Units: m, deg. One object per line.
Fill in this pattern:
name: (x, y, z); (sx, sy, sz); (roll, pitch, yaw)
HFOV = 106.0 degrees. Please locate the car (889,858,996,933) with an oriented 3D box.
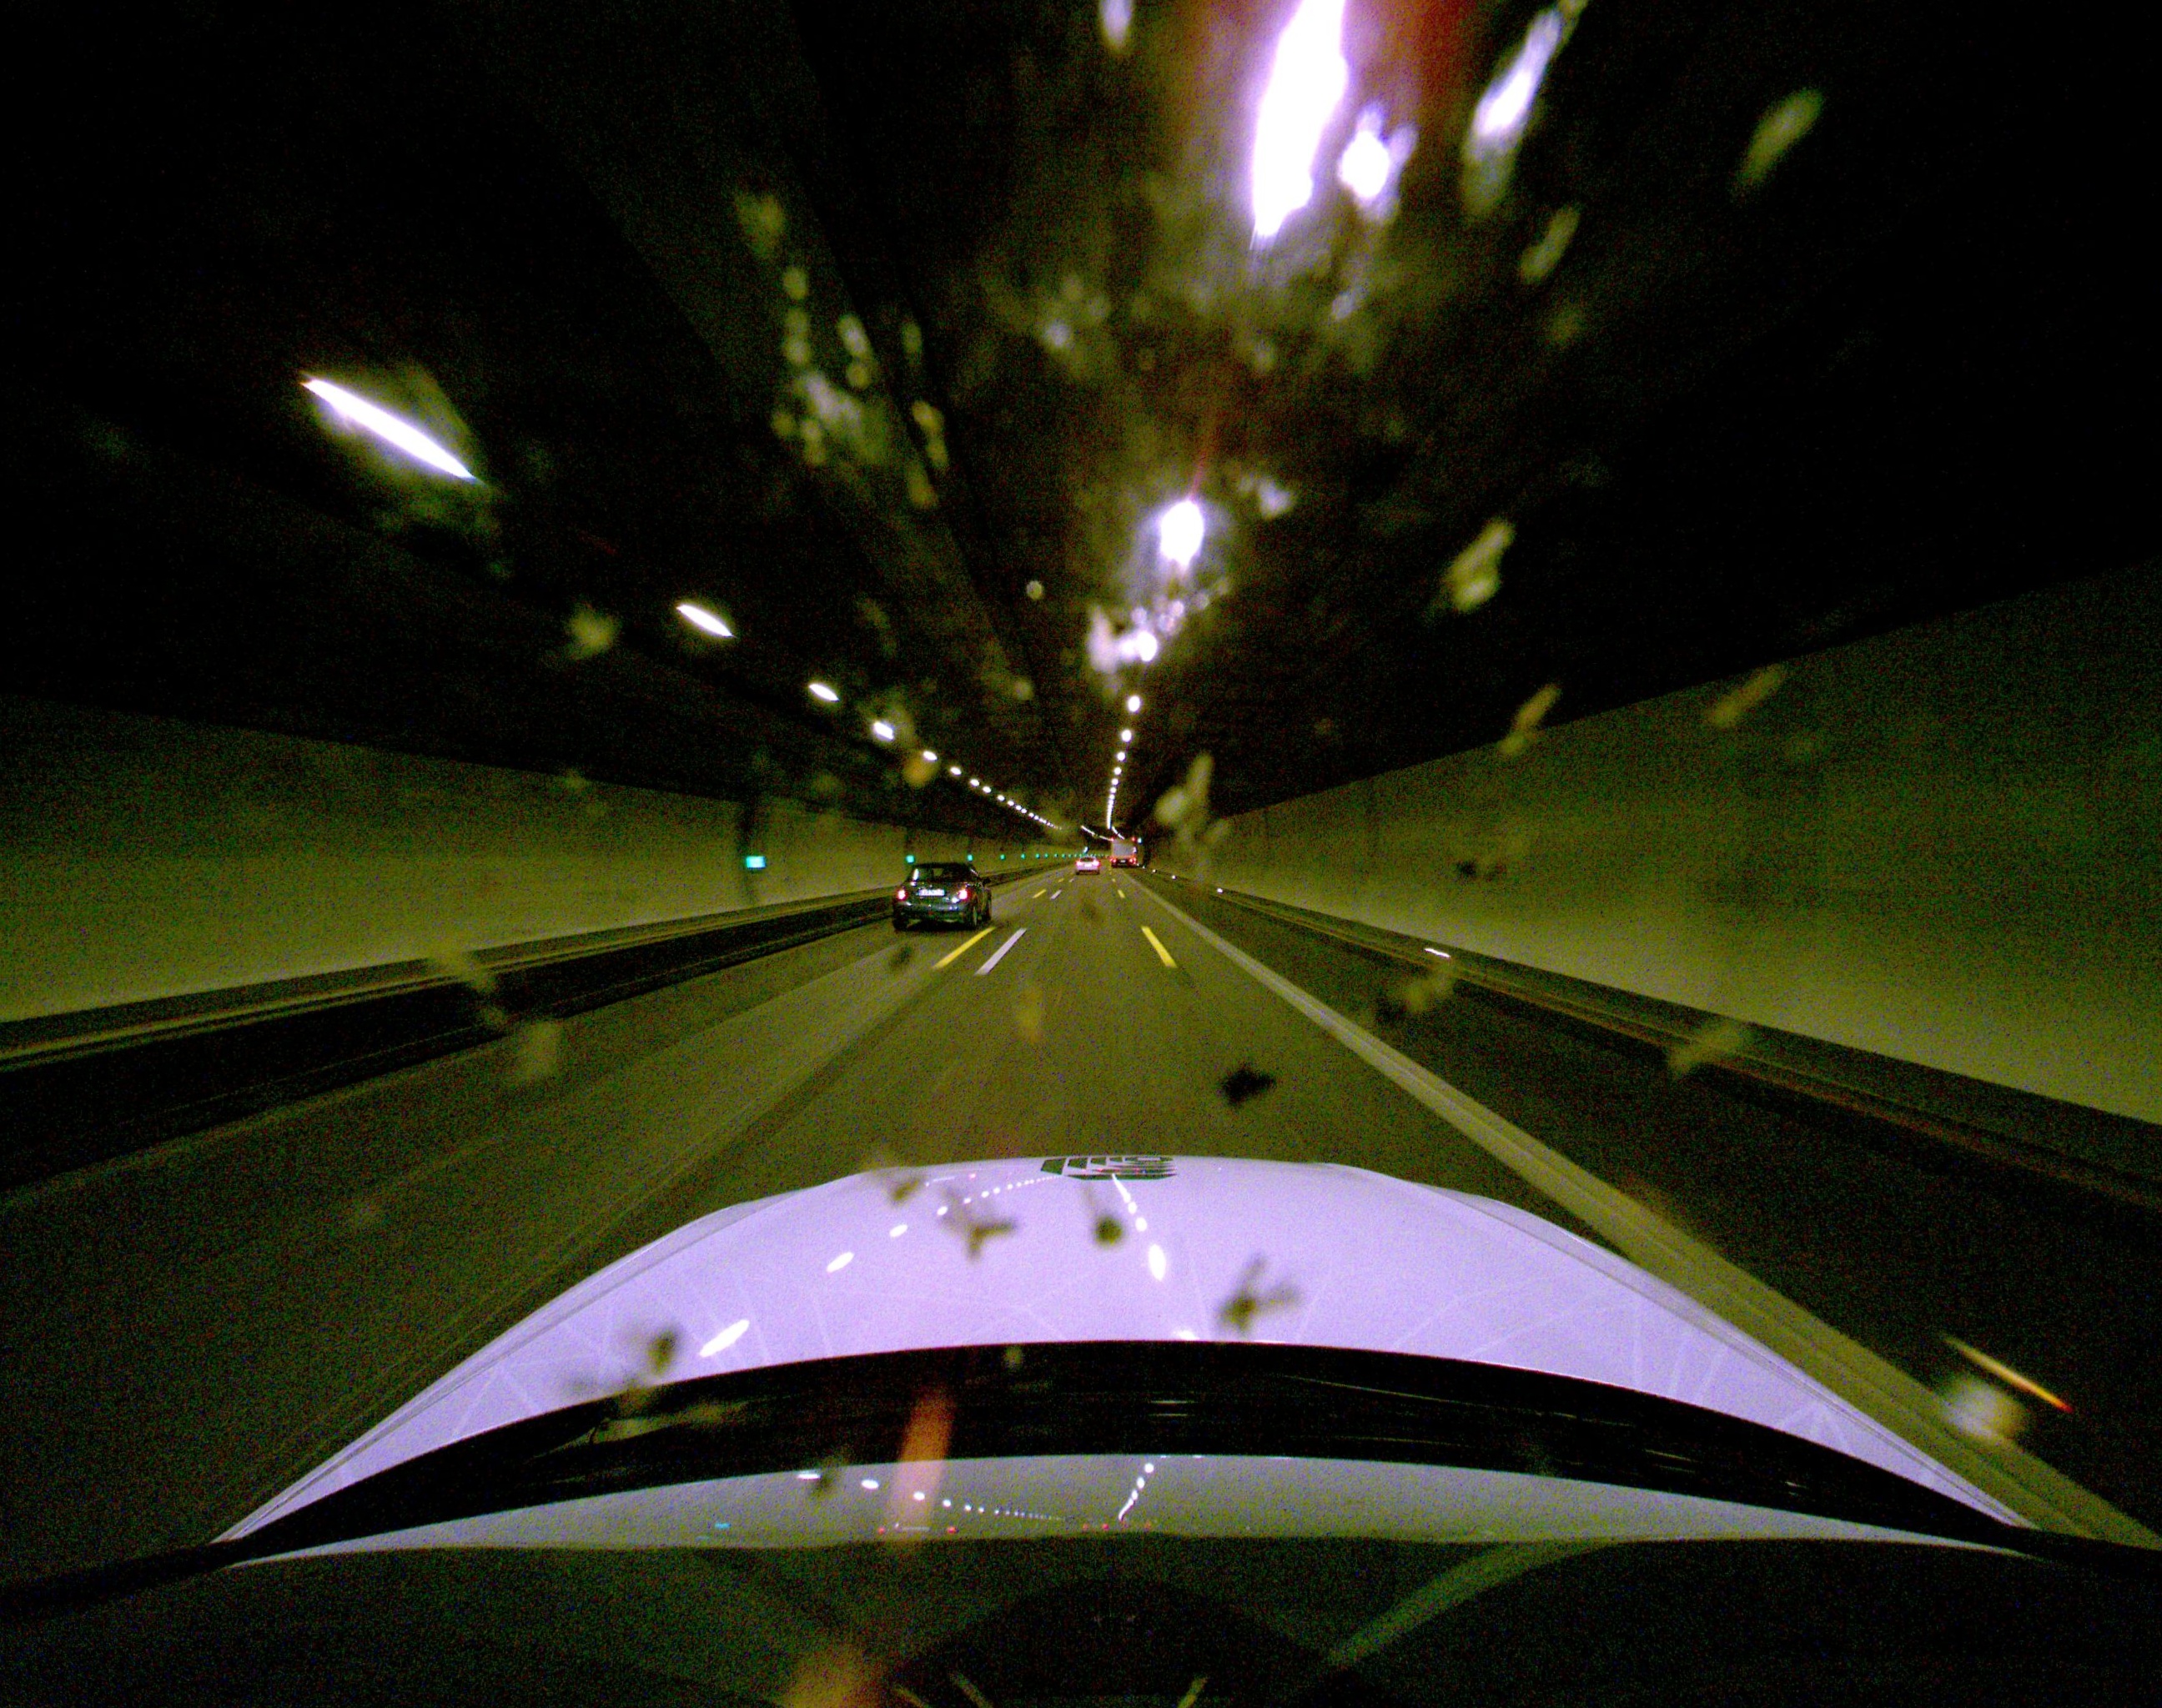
car: (-2.939, 0.831, 18.045); (1.684, 1.417, 3.922); (-1, 0, 0)

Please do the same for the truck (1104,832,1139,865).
truck: (4.789, -0.629, 98.846); (3.581, 3.650, 10.719); (-1, 0, 0)

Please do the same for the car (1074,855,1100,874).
car: (0.465, 0.789, 64.603); (1.987, 1.413, 4.741); (-1, 0, -1)
